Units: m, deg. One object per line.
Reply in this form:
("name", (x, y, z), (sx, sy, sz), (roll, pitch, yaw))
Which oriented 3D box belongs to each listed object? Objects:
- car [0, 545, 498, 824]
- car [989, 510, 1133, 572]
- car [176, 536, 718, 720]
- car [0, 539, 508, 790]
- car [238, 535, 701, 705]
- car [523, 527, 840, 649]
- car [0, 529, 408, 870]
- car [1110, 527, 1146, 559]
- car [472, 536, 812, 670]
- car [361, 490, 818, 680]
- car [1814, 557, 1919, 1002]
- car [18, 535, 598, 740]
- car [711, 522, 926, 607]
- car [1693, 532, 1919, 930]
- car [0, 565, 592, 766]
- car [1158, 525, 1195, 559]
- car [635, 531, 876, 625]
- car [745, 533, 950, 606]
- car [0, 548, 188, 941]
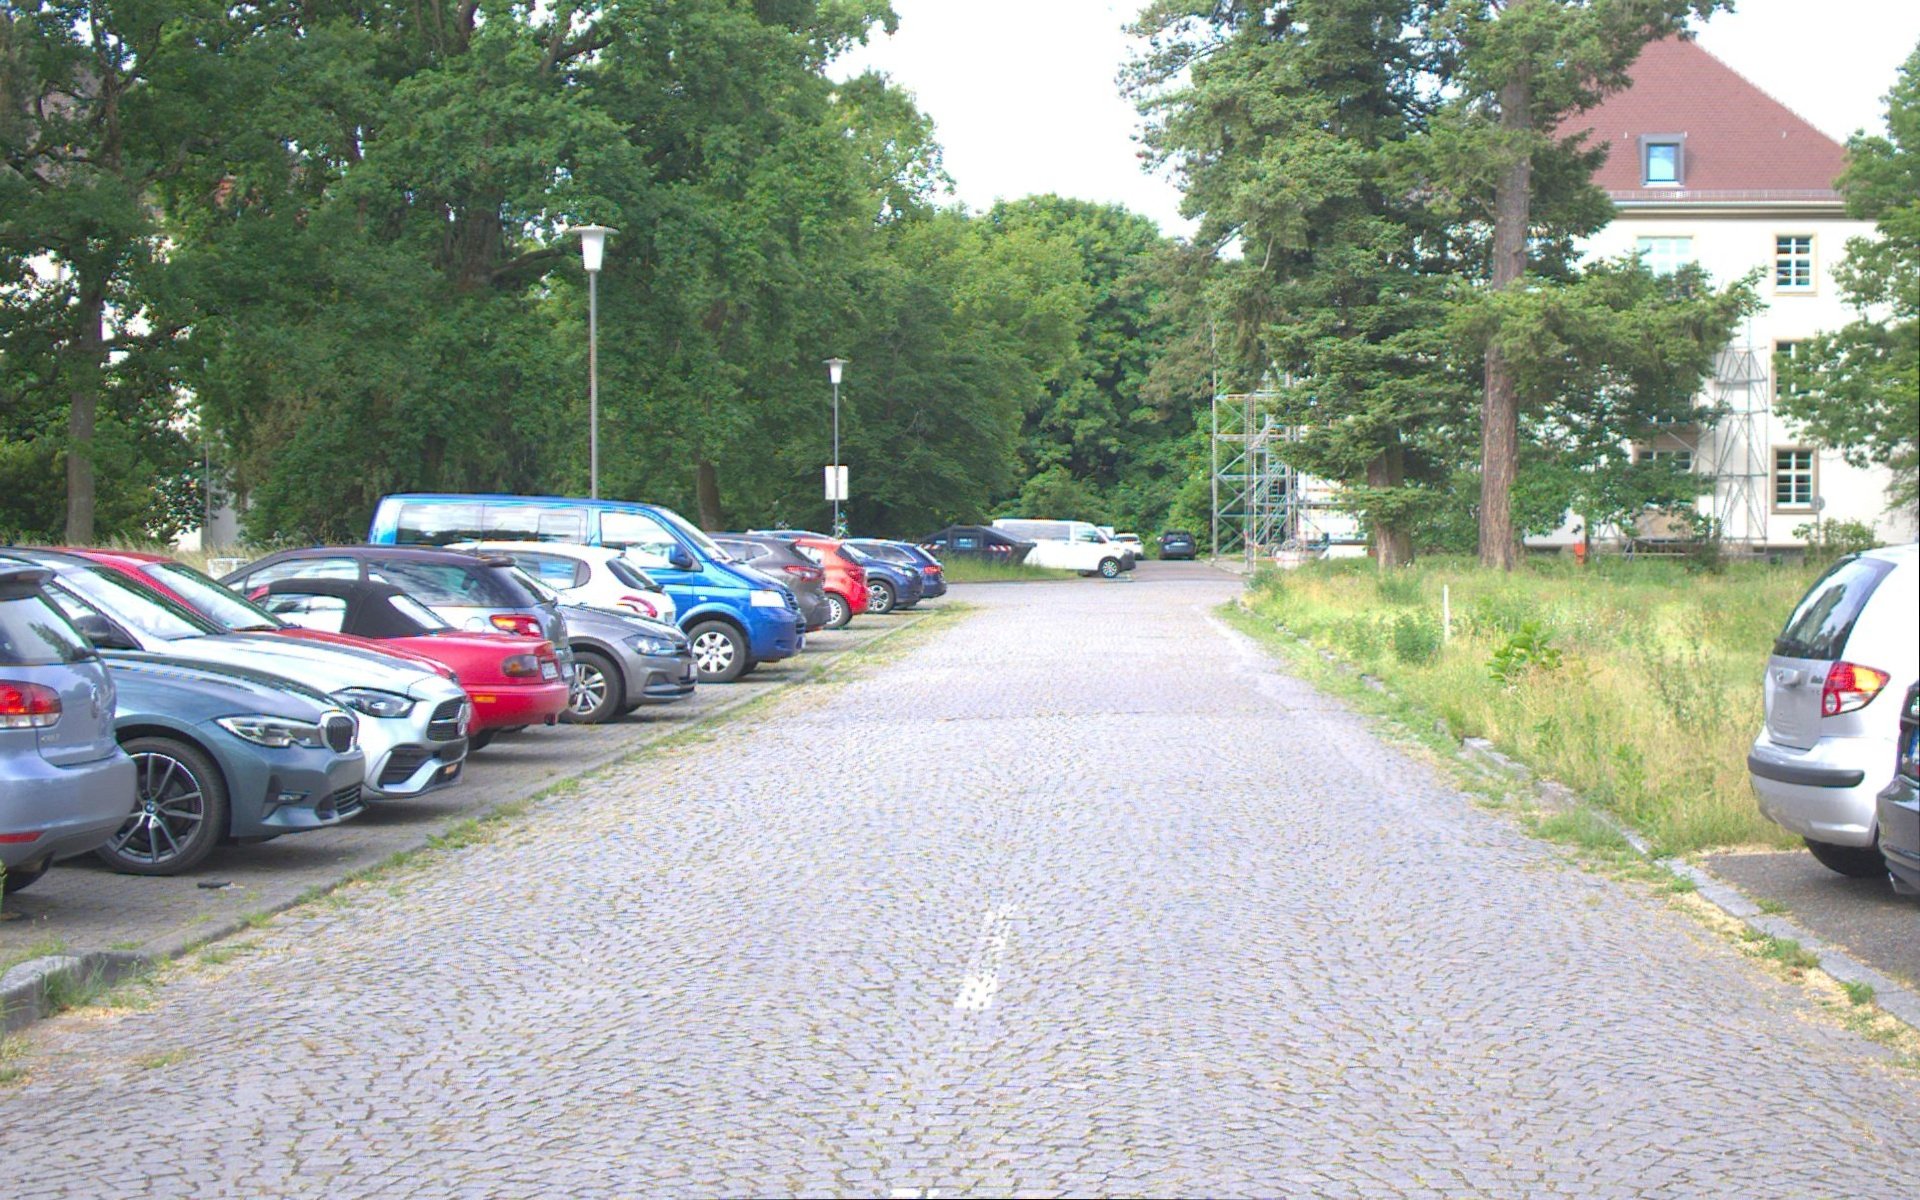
("car", (-4.970, 0.422, 19.184), (4.437, 1.450, 1.949), (1, 1, 4))
("car", (3.528, -2.065, 120.376), (4.978, 2.065, 2.052), (1, 0, 2))
("car", (-4.338, 0.215, 29.418), (4.305, 1.475, 1.731), (1, 1, 4))
("car", (-5.105, 0.362, 21.502), (4.254, 1.450, 1.855), (0, 1, 3))
("car", (-4.556, 0.161, 32.299), (4.006, 1.496, 1.842), (1, 1, 4))
("car", (-3.725, -0.186, 46.441), (4.068, 1.570, 1.954), (0, 1, 2))
("car", (-5.052, 0.428, 16.498), (4.501, 1.532, 1.870), (0, 1, 0))
("car", (9.088, -3.094, 186.208), (1.790, 1.630, 4.061), (0, 0, 1))
("car", (-3.669, 0.015, 40.154), (3.793, 1.488, 1.726), (0, 1, 1))
("car", (-3.989, -0.189, 37.570), (4.710, 1.974, 2.038), (0, 1, 2))
("car", (5.282, 0.492, 11.497), (4.366, 1.401, 1.796), (-3, 2, 1))
("car", (-4.975, 0.260, 26.565), (4.088, 1.475, 1.755), (1, 1, 4))
("car", (-2.733, -0.698, 66.976), (4.071, 1.598, 1.787), (0, 1, 1))
("car", (5.132, 0.425, 14.209), (3.772, 1.474, 1.743), (-3, 2, 0))
("car", (-4.745, 0.426, 23.871), (4.131, 1.279, 1.764), (0, 1, 3))
("car", (11.723, -3.143, 186.392), (1.790, 1.714, 4.061), (0, 0, 1))
("car", (-3.350, -0.375, 56.749), (3.816, 1.484, 1.787), (0, 1, 2))
("car", (-2.324, -0.647, 71.660), (4.072, 1.462, 1.625), (1, 1, 6))
("car", (-5.515, 0.509, 13.892), (4.330, 1.465, 1.827), (1, 1, 4))
